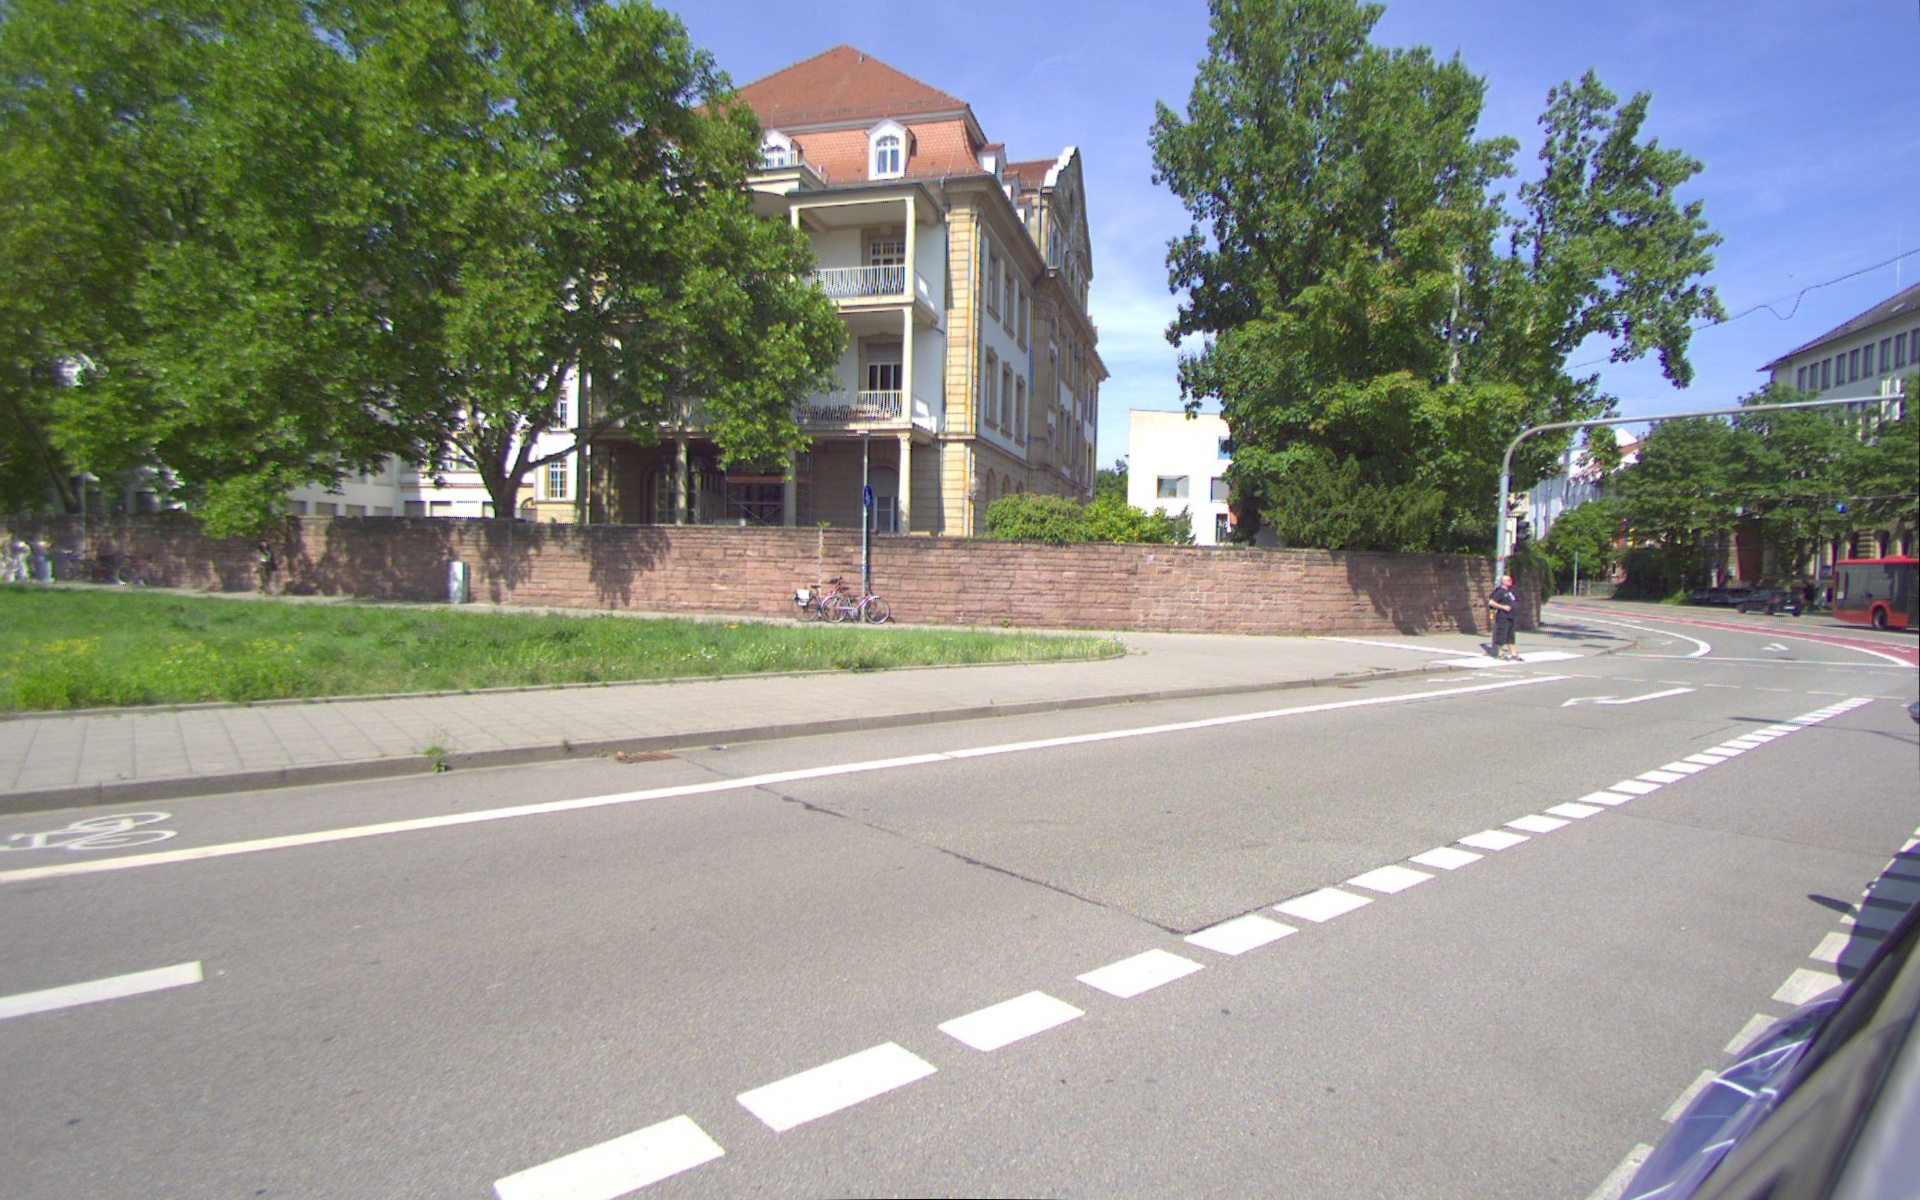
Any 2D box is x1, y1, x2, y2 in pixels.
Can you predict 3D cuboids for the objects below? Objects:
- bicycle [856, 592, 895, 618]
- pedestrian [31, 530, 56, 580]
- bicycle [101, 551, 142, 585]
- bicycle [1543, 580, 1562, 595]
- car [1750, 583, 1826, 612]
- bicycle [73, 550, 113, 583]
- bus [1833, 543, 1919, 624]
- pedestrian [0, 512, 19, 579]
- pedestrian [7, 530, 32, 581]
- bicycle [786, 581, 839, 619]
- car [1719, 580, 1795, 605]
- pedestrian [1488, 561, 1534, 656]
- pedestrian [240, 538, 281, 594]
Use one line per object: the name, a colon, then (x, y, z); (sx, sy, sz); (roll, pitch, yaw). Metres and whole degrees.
bicycle: (-2.085, 0.132, 25.013); (0.929, 0.609, 0.275); (2, 2, -2)
pedestrian: (-30.033, -1.474, 33.166); (0.700, 1.597, 0.516); (3, 3, 41)
bicycle: (-27.343, -1.053, 32.994); (1.432, 1.046, 0.444); (3, 2, 24)
bicycle: (58.254, -1.212, 99.510); (0.819, 1.420, 3.452); (0, 0, 16)
car: (47.546, -0.154, 58.198); (1.973, 1.638, 3.978); (0, 0, 17)
bicycle: (-28.845, -1.123, 33.682); (1.432, 1.046, 0.444); (3, 2, 24)
bus: (38.204, -0.625, 37.749); (3.086, 3.133, 12.364); (0, 1, 13)
pedestrian: (-29.825, -1.699, 31.507); (0.586, 2.038, 0.522); (1, 2, 9)
pedestrian: (-30.310, -1.434, 32.599); (0.700, 1.597, 0.516); (3, 3, 41)
bicycle: (-3.578, 0.009, 24.621); (1.202, 0.894, 0.395); (1, 2, -21)
car: (59.089, -0.551, 75.089); (3.941, 1.682, 1.993); (0, 3, 14)
pedestrian: (12.169, 0.173, 22.351); (0.790, 2.038, 0.608); (2, 1, 35)
pedestrian: (-20.226, -0.981, 29.257); (0.900, 1.567, 0.501); (2, 2, 13)
